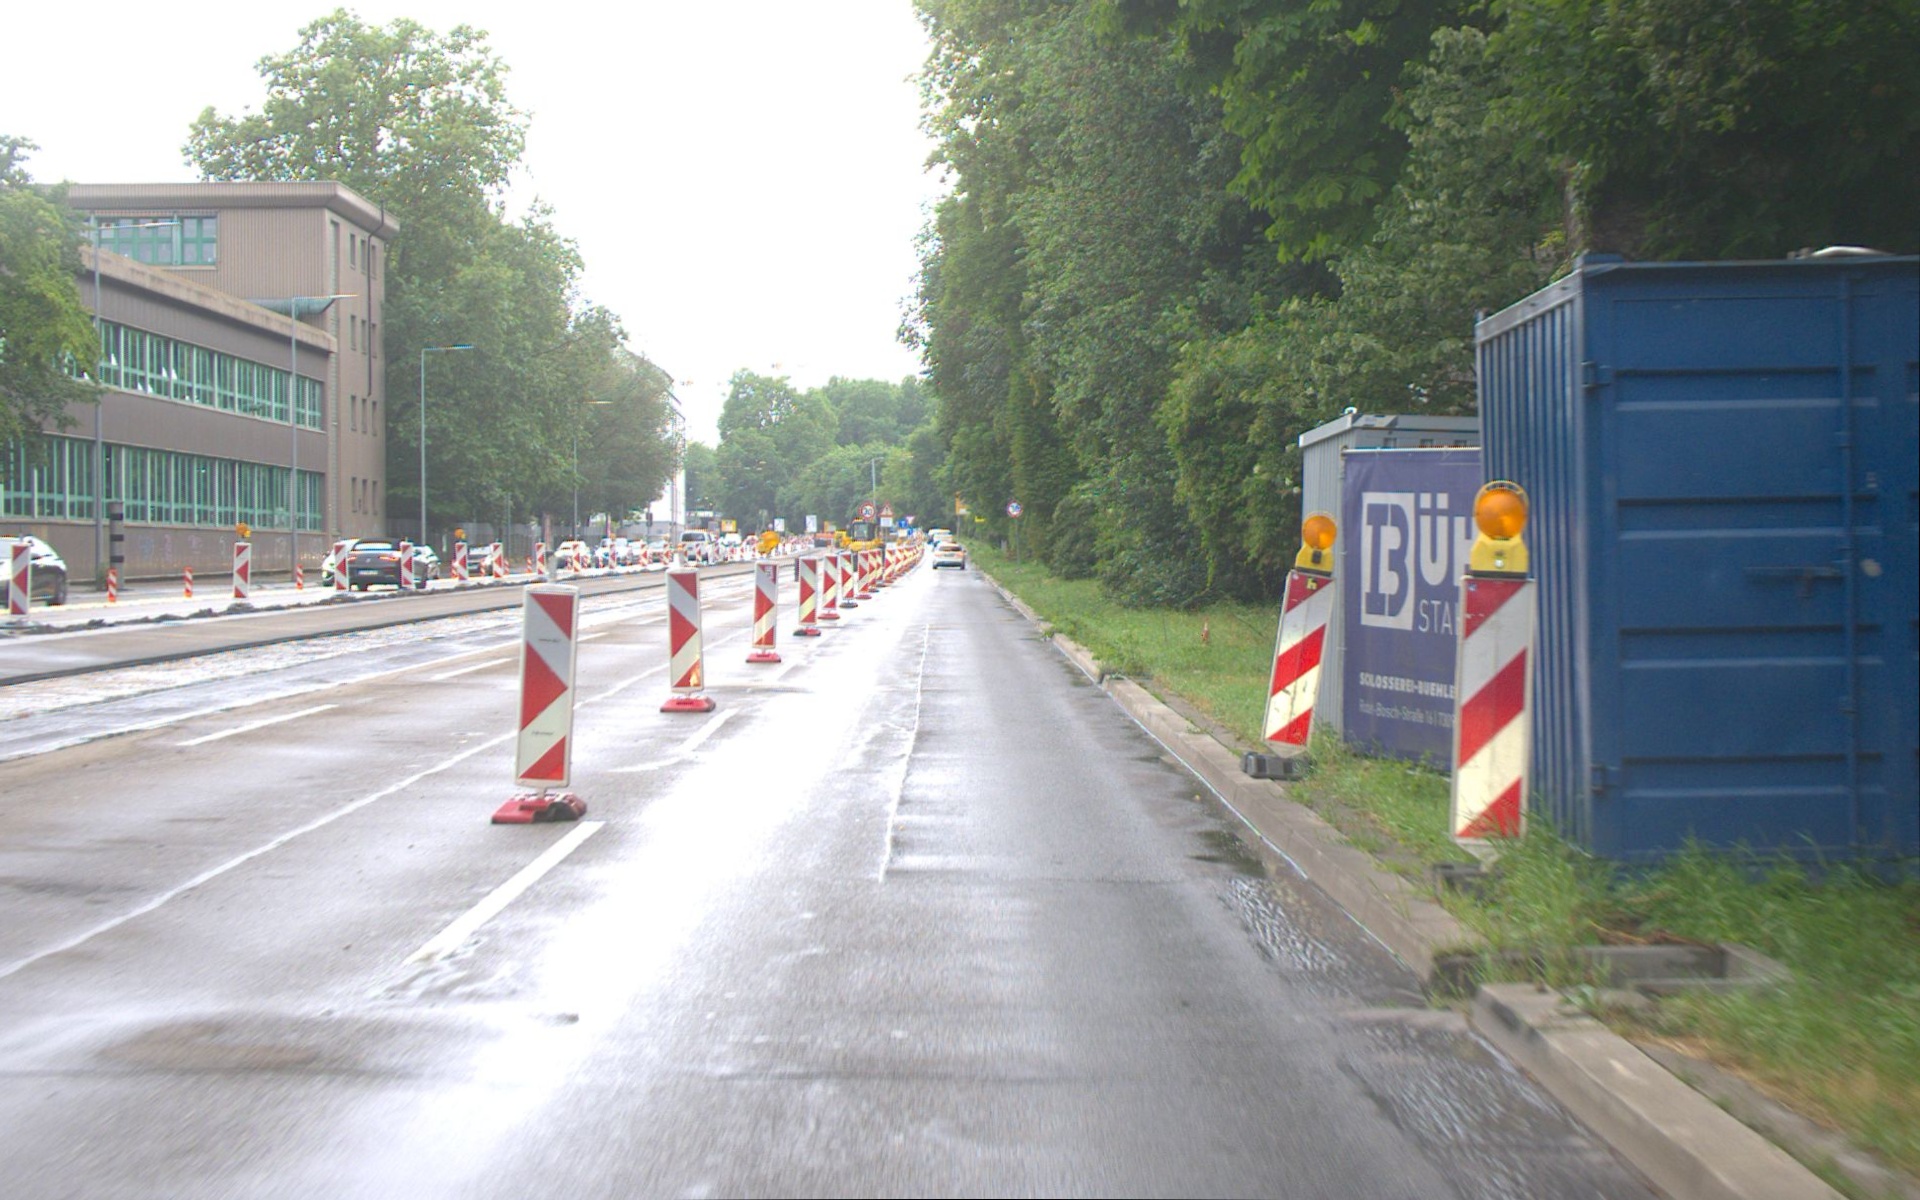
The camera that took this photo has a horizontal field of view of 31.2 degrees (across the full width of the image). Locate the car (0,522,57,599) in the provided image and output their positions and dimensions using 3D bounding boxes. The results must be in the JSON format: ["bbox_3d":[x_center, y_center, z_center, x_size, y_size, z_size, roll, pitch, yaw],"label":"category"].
[{"bbox_3d":[-18.827,-0.765,66.302,1.723,1.437,4.000,-1,1,0],"label":"car"}]
